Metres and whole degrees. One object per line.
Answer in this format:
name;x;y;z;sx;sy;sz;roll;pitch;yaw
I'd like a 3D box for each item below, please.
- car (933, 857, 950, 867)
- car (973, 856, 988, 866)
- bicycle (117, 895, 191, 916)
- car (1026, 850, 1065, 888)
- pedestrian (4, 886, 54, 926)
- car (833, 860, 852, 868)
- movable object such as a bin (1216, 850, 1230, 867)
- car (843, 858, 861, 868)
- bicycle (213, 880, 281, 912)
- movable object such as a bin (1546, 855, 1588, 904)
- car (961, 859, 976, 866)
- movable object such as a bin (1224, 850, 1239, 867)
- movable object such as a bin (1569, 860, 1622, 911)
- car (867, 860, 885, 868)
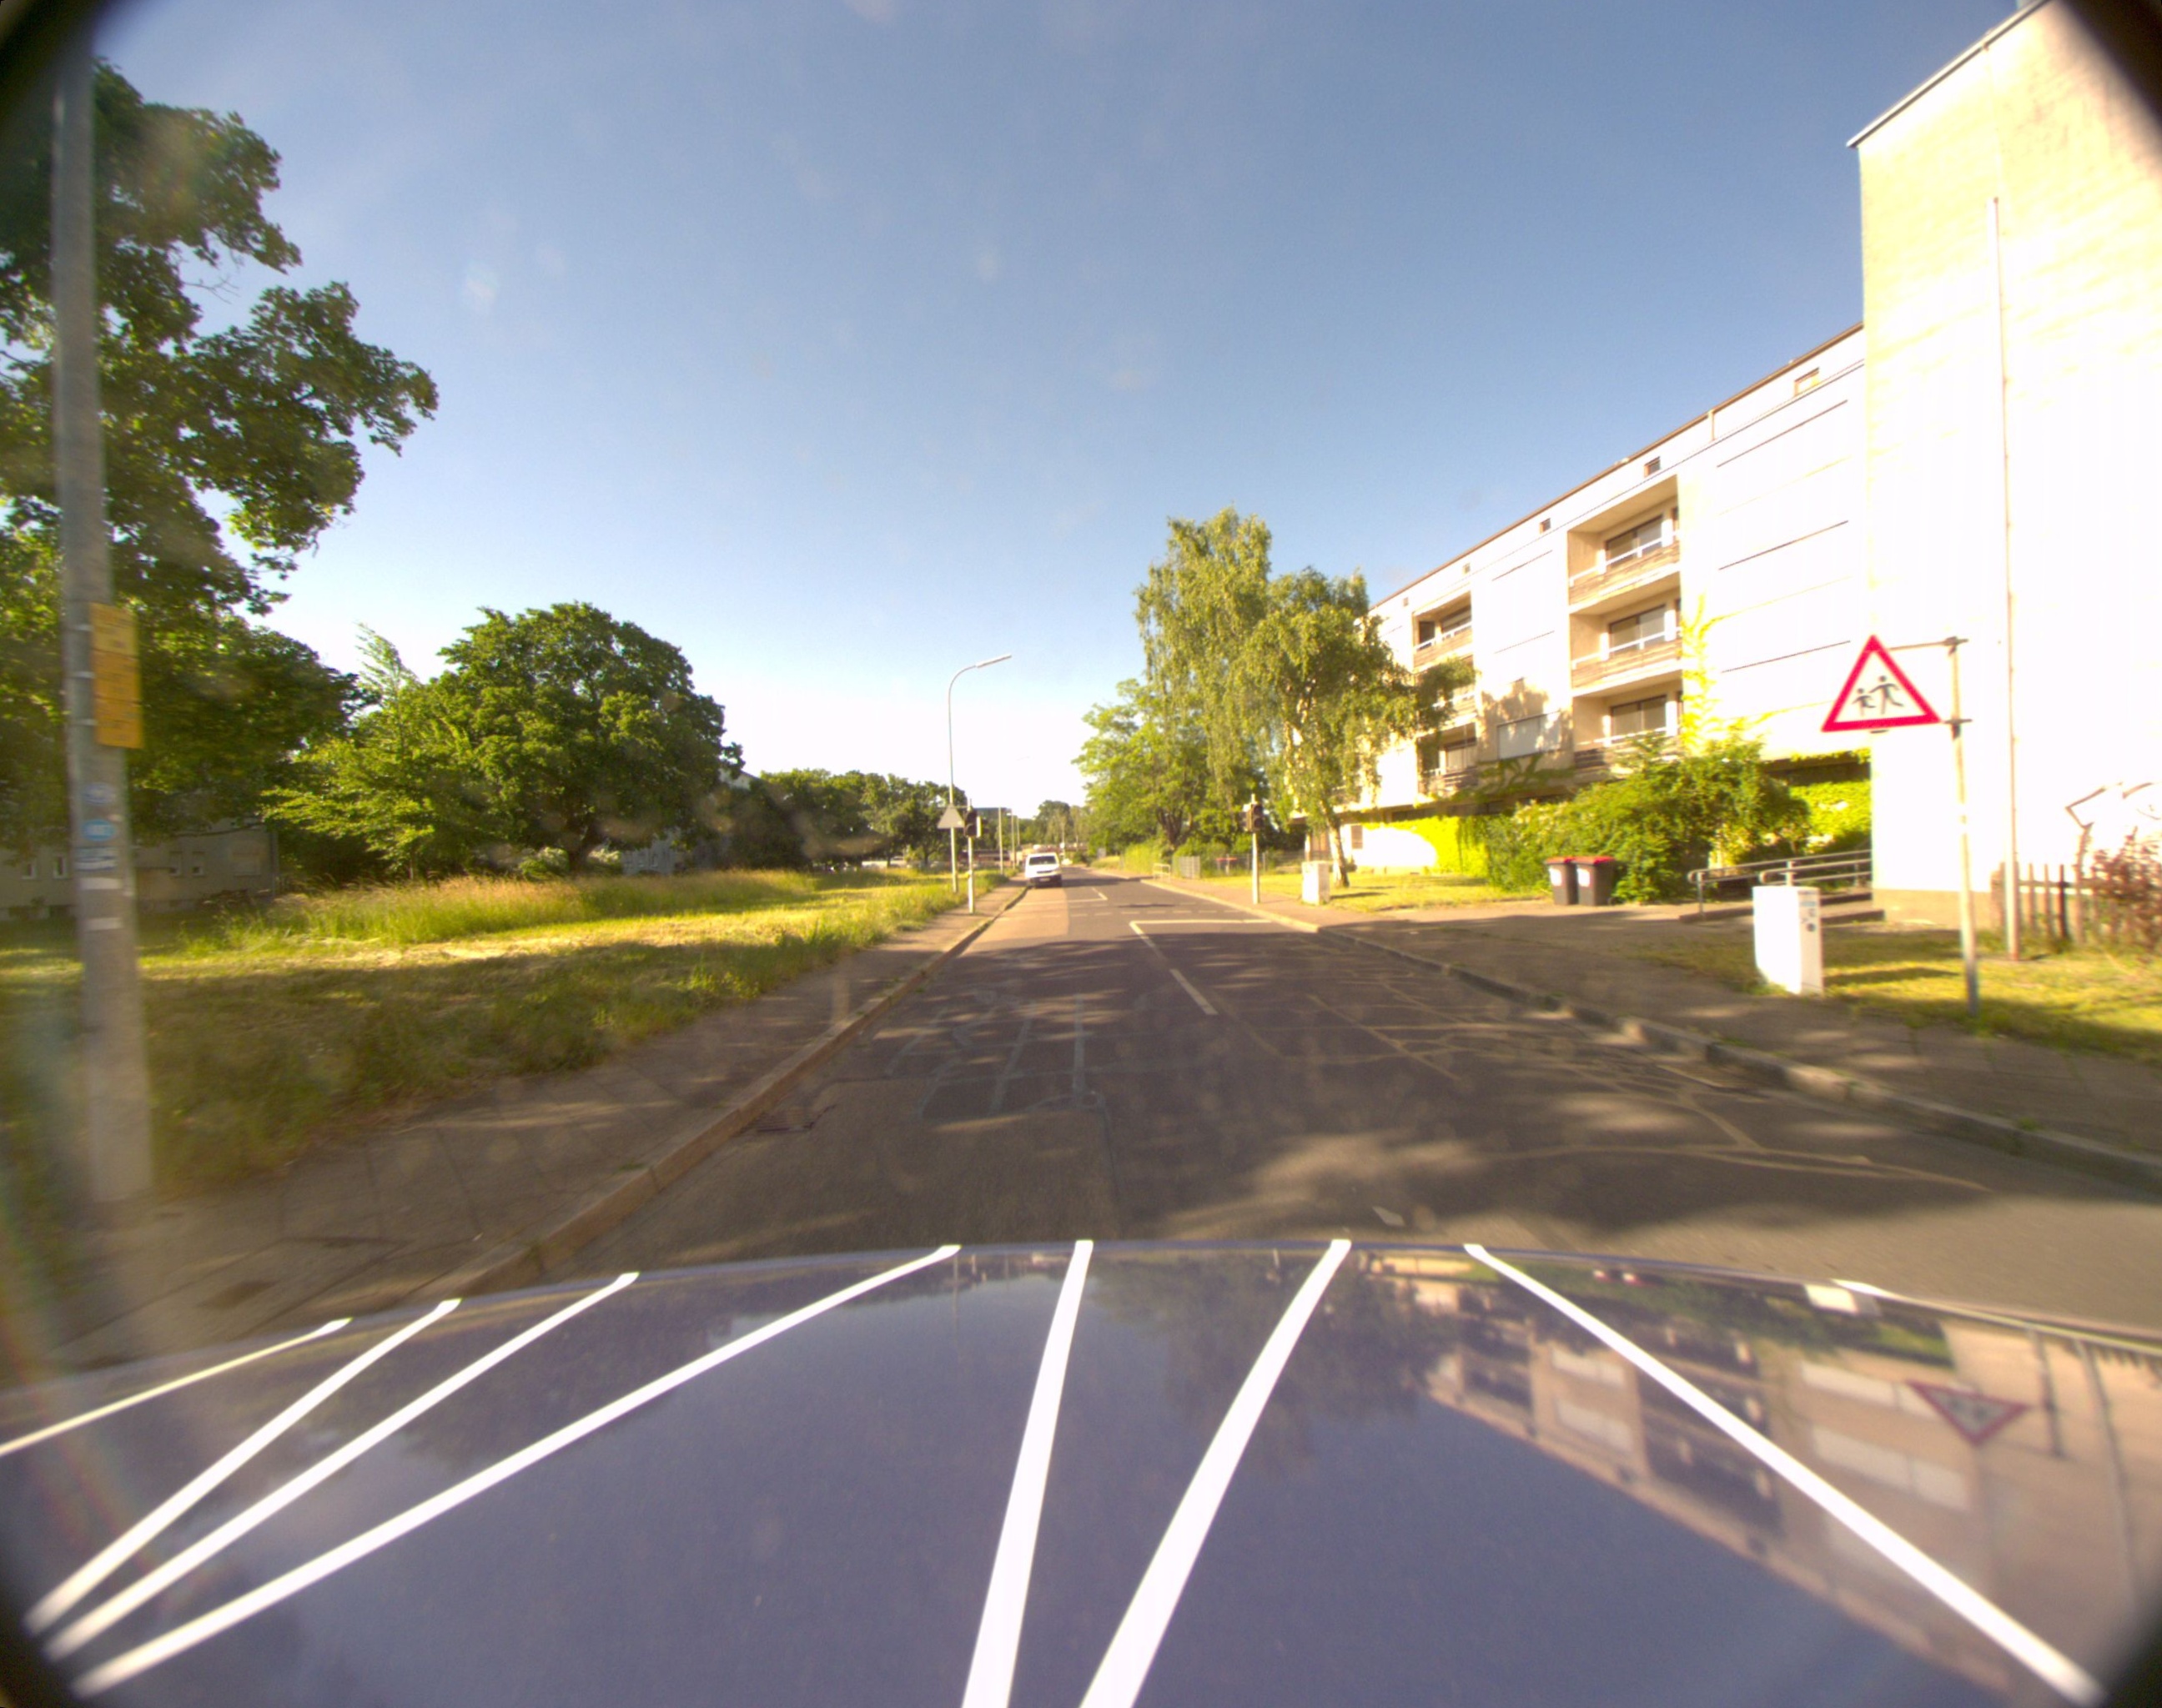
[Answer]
car;-27.384;1.582;149.515;1.859;1.763;4.003;-1;0;10
car;-19.699;1.343;148.777;1.955;1.849;4.001;-1;0;4
bicycle;-43.107;2.382;35.378;0.694;0.807;2.303;-2;1;-2
car;-1.944;0.786;41.871;1.921;1.861;4.864;-3;0;-3
pedestrian;-40.141;1.985;29.002;0.757;1.448;0.767;-2;1;-14
car;-48.683;2.095;155.132;1.954;1.552;4.003;-1;0;10
movable object such as a bin;8.382;0.262;44.863;0.623;1.018;0.710;-1;1;-7
car;-46.472;1.850;154.370;1.997;2.002;4.002;-1;0;8
bicycle;-43.487;2.159;39.687;0.782;1.516;2.753;-1;1;-8
movable object such as a bin;10.797;0.565;16.887;0.565;1.047;0.556;-2;1;-22
car;-22.071;1.621;148.987;1.779;1.316;4.002;-1;0;7
movable object such as a bin;8.895;0.255;44.943;0.623;1.018;0.710;-1;1;-7
movable object such as a bin;11.024;0.665;16.287;0.629;1.042;0.701;-2;1;-23
car;-41.366;1.957;153.329;1.954;1.552;4.003;-1;0;10
